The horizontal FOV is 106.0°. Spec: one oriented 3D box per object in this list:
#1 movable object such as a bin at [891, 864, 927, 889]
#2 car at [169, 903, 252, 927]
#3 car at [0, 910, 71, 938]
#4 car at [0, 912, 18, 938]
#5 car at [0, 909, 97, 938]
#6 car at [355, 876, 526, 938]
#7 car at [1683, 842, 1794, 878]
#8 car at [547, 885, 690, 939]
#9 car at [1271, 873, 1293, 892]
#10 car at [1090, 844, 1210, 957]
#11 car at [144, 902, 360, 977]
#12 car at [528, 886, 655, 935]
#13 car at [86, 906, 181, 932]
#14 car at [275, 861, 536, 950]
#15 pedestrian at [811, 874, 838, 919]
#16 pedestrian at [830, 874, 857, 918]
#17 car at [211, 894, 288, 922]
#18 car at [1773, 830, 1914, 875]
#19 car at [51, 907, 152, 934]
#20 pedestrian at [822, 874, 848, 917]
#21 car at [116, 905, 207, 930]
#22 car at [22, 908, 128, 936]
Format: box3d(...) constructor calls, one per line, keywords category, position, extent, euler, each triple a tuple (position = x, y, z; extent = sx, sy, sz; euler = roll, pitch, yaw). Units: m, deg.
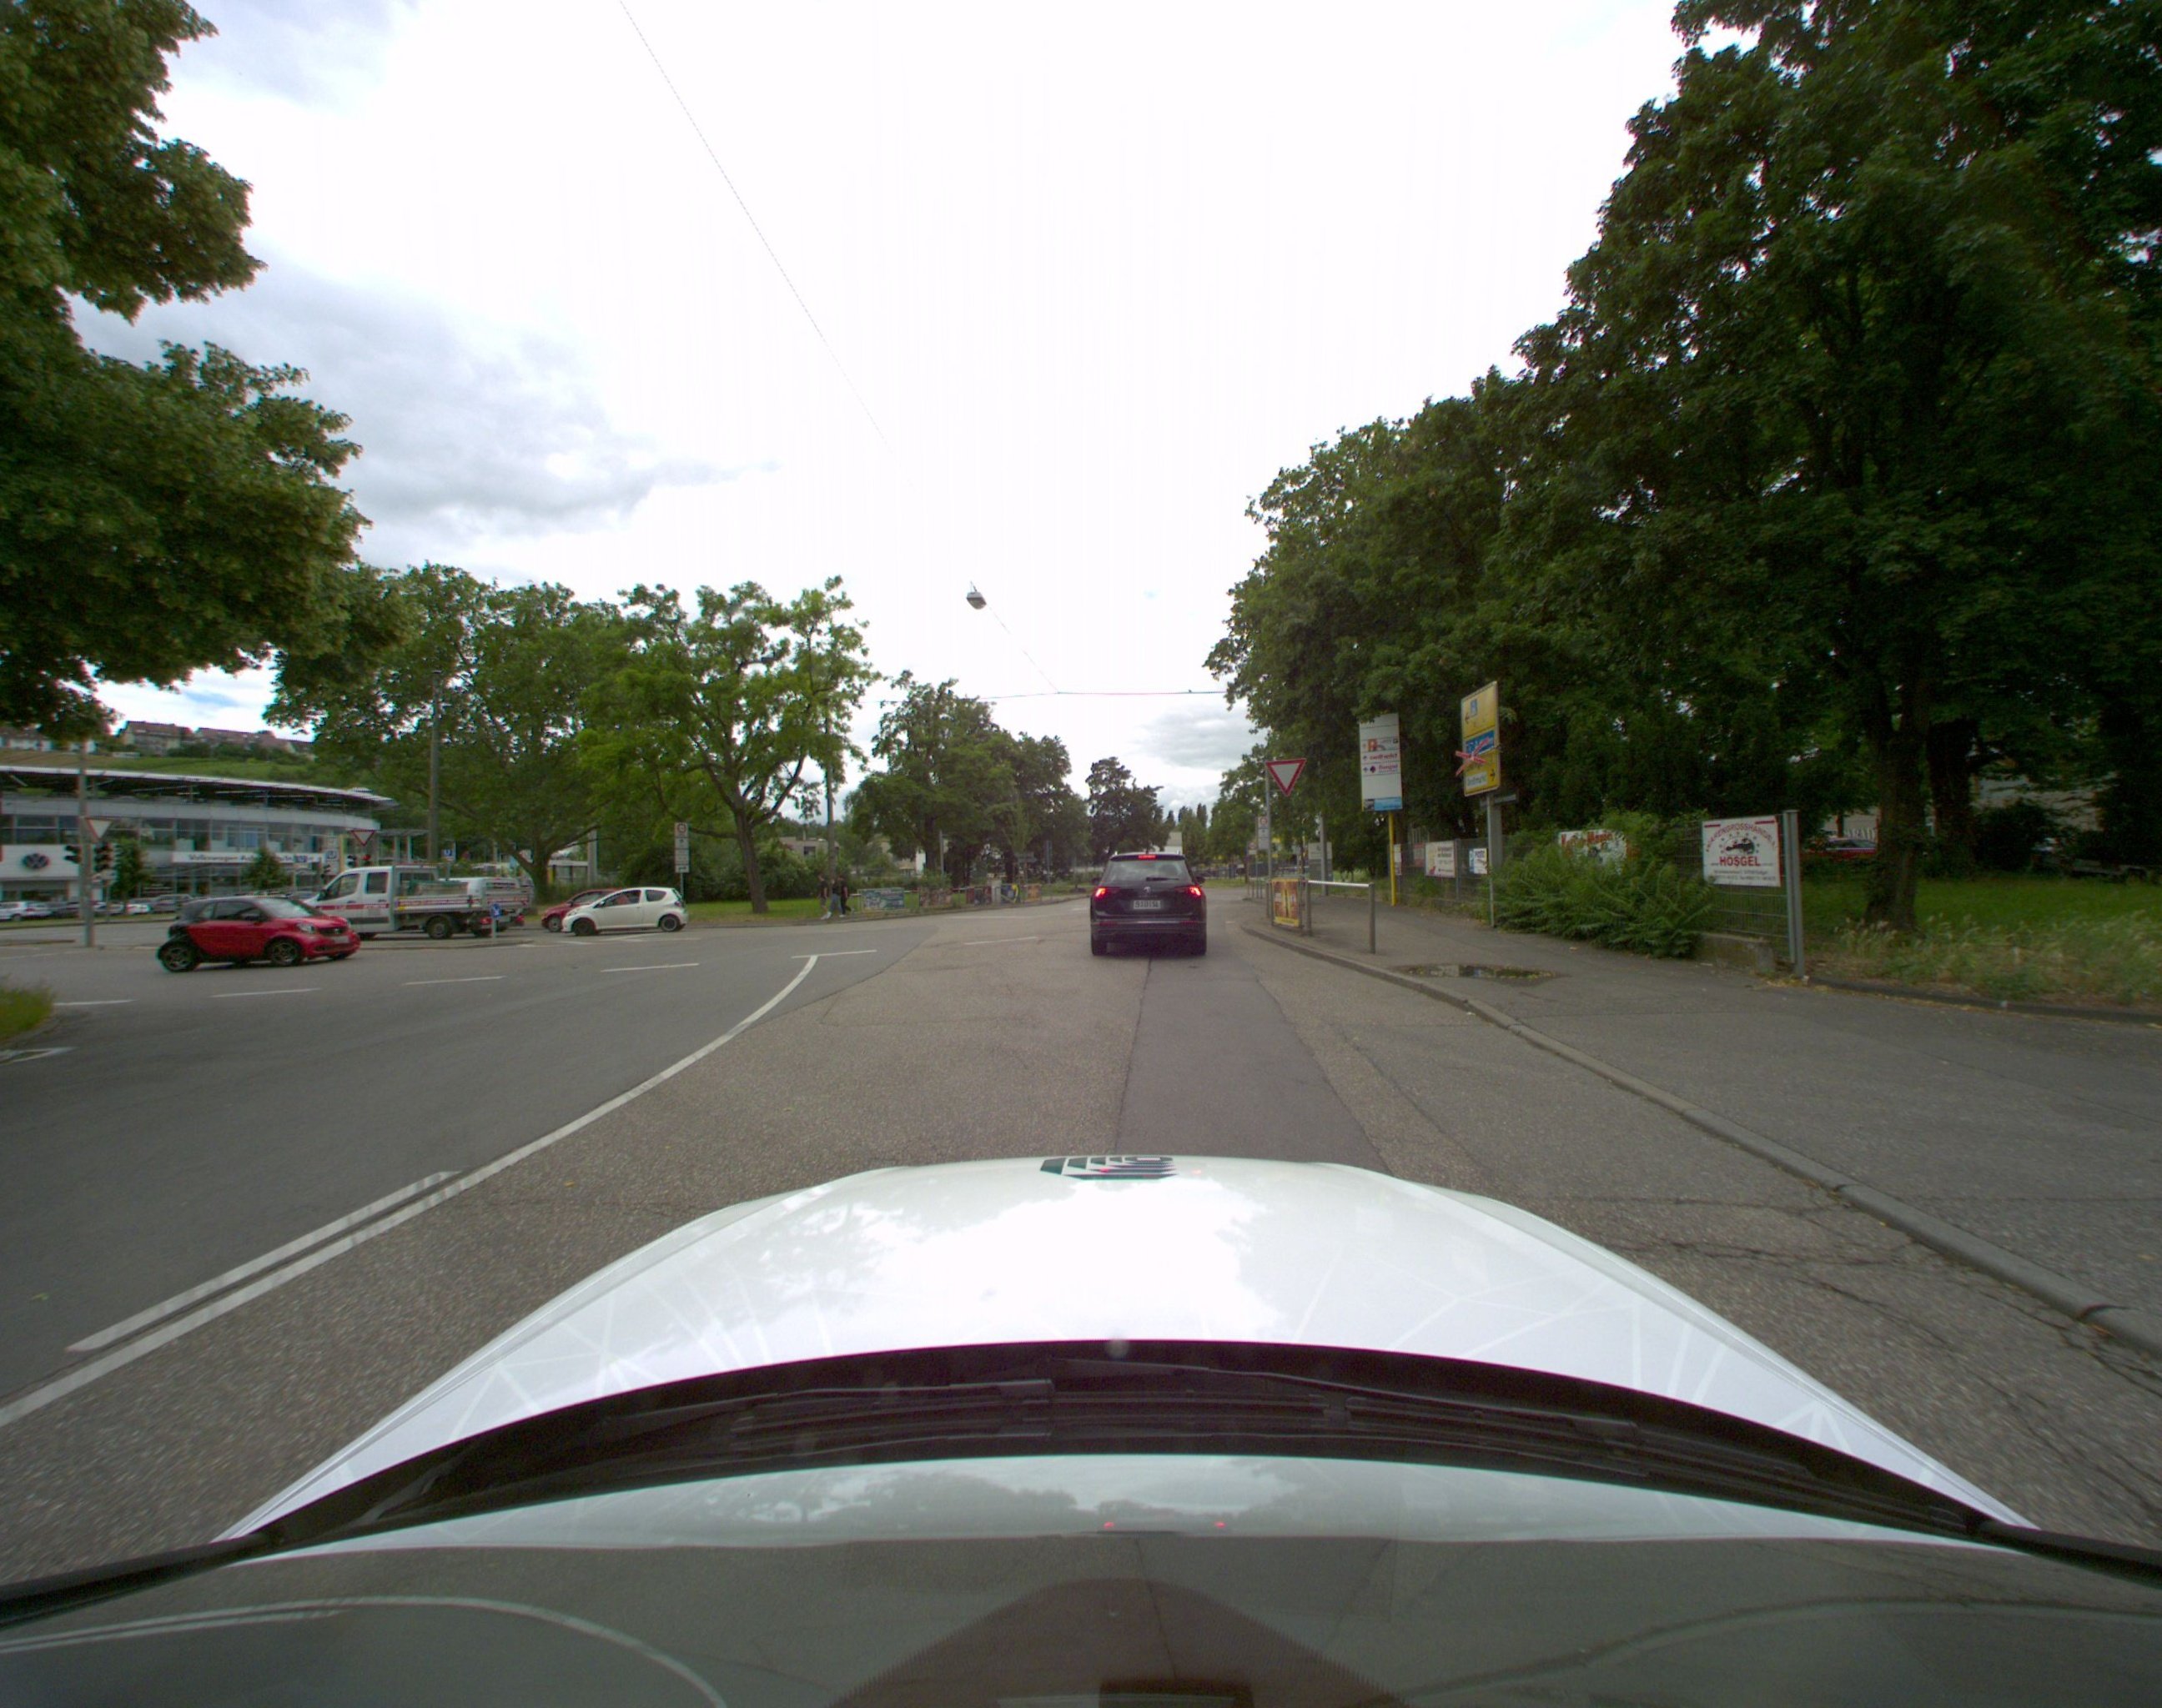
box3d(category="movable object such as a bin", position=(-15.214, 1.982, 72.138), extent=(1.975, 2.014, 2.414), euler=(-3, -1, 28))
box3d(category="car", position=(-75.616, 5.260, 70.836), extent=(4.501, 1.692, 1.987), euler=(-2, -1, -19))
box3d(category="car", position=(-73.237, 4.858, 55.884), extent=(4.501, 1.692, 1.987), euler=(-2, -1, -19))
box3d(category="car", position=(-73.611, 4.820, 53.292), extent=(4.501, 1.692, 1.987), euler=(-2, -1, -19))
box3d(category="car", position=(-73.864, 4.930, 57.948), extent=(4.501, 1.692, 1.987), euler=(-2, -1, -19))
box3d(category="car", position=(-22.853, 1.859, 29.122), extent=(4.945, 1.942, 2.055), euler=(-3, -1, 11))
box3d(category="car", position=(33.291, 0.312, 41.349), extent=(3.920, 1.647, 1.836), euler=(-3, -1, 12))
box3d(category="car", position=(-14.332, 1.761, 25.470), extent=(3.619, 1.409, 1.729), euler=(-2, -1, -22))
box3d(category="car", position=(18.567, 2.586, 75.101), extent=(1.646, 1.574, 3.845), euler=(-3, -1, 17))
box3d(category="car", position=(1.110, 0.721, 13.803), extent=(1.732, 1.618, 3.643), euler=(-1, -1, 3))
box3d(category="car", position=(-17.940, 1.812, 17.750), extent=(2.871, 1.349, 1.557), euler=(-2, -1, -12))
box3d(category="car", position=(-17.075, 1.940, 28.519), extent=(3.385, 1.478, 1.639), euler=(-2, -1, -3))
box3d(category="car", position=(-75.379, 5.121, 64.894), extent=(4.501, 1.692, 1.987), euler=(-2, -1, -19))
box3d(category="car", position=(-20.928, 1.534, 25.446), extent=(6.050, 2.387, 2.394), euler=(-2, -1, 0))
box3d(category="pedestrian", position=(-10.238, 1.691, 32.465), extent=(0.731, 1.742, 0.734), euler=(-1, -1, -43))
box3d(category="pedestrian", position=(-9.684, 1.695, 33.214), extent=(0.731, 1.742, 0.734), euler=(-1, -1, -43))
box3d(category="car", position=(-76.624, 4.983, 75.148), extent=(4.501, 2.218, 1.987), euler=(-2, -1, -19))
box3d(category="car", position=(32.090, -0.043, 34.401), extent=(3.920, 1.647, 1.836), euler=(-3, -1, 12))
box3d(category="car", position=(-74.936, 5.055, 62.403), extent=(4.501, 1.692, 1.987), euler=(-2, -1, -19))
box3d(category="pedestrian", position=(-10.217, 1.718, 33.785), extent=(0.731, 1.742, 0.734), euler=(-1, -1, -43))
box3d(category="car", position=(-75.700, 5.178, 67.111), extent=(4.501, 1.692, 1.987), euler=(-2, -1, -19))
box3d(category="car", position=(-74.366, 4.994, 60.268), extent=(4.501, 1.692, 1.987), euler=(-2, -1, -19))
